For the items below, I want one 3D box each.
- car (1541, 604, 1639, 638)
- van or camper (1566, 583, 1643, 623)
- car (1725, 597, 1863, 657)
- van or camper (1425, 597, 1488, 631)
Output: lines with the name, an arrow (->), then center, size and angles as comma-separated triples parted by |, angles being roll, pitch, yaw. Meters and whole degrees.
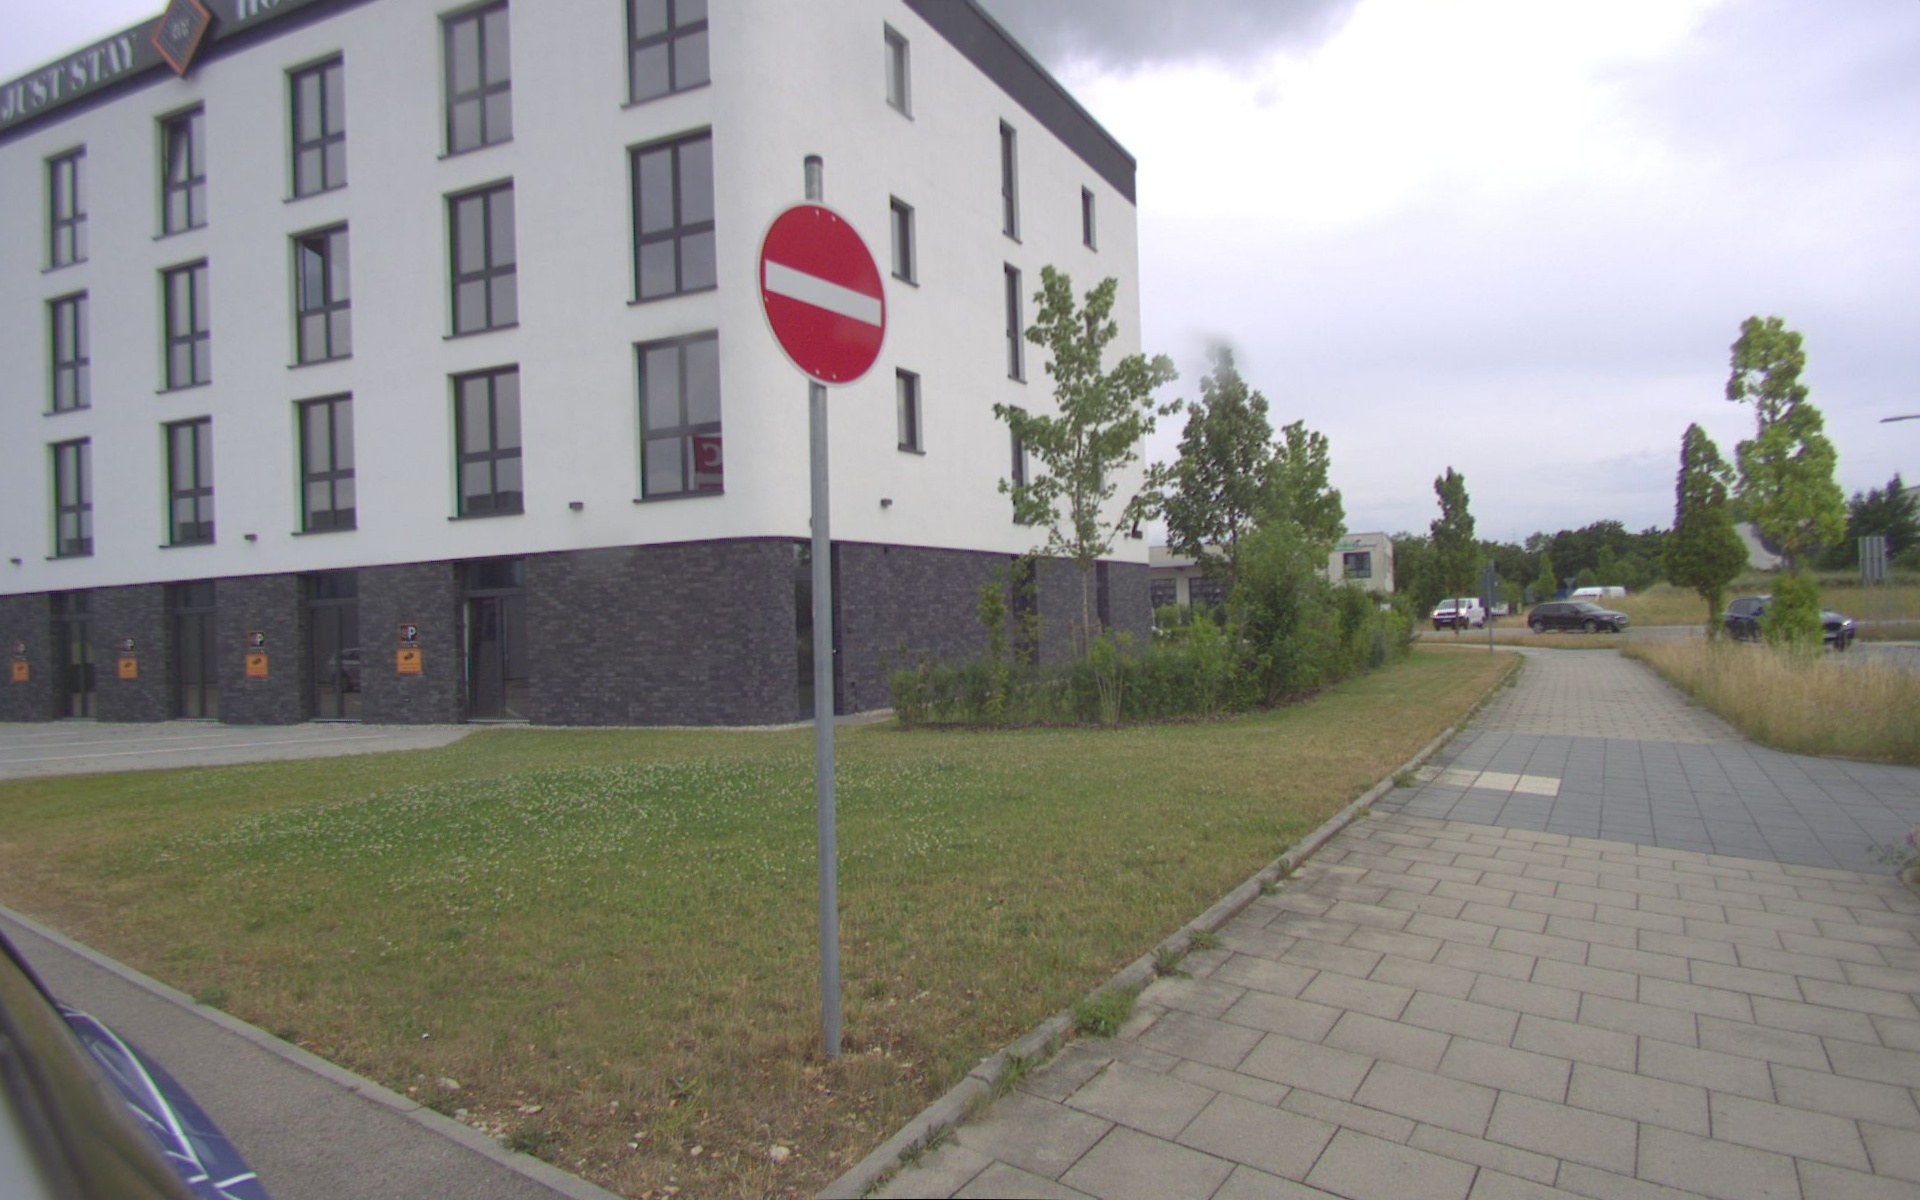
car -> 27.732, 0.933, 44.622 | 1.534, 1.364, 3.302 | -1, -2, -34
van or camper -> 45.482, 0.189, 71.408 | 5.372, 2.601, 2.006 | -2, -1, -27
car -> 25.358, 0.807, 30.954 | 1.880, 1.652, 3.975 | -3, -1, 19
van or camper -> 30.499, 0.852, 62.112 | 4.770, 1.905, 1.985 | -1, -2, -45
